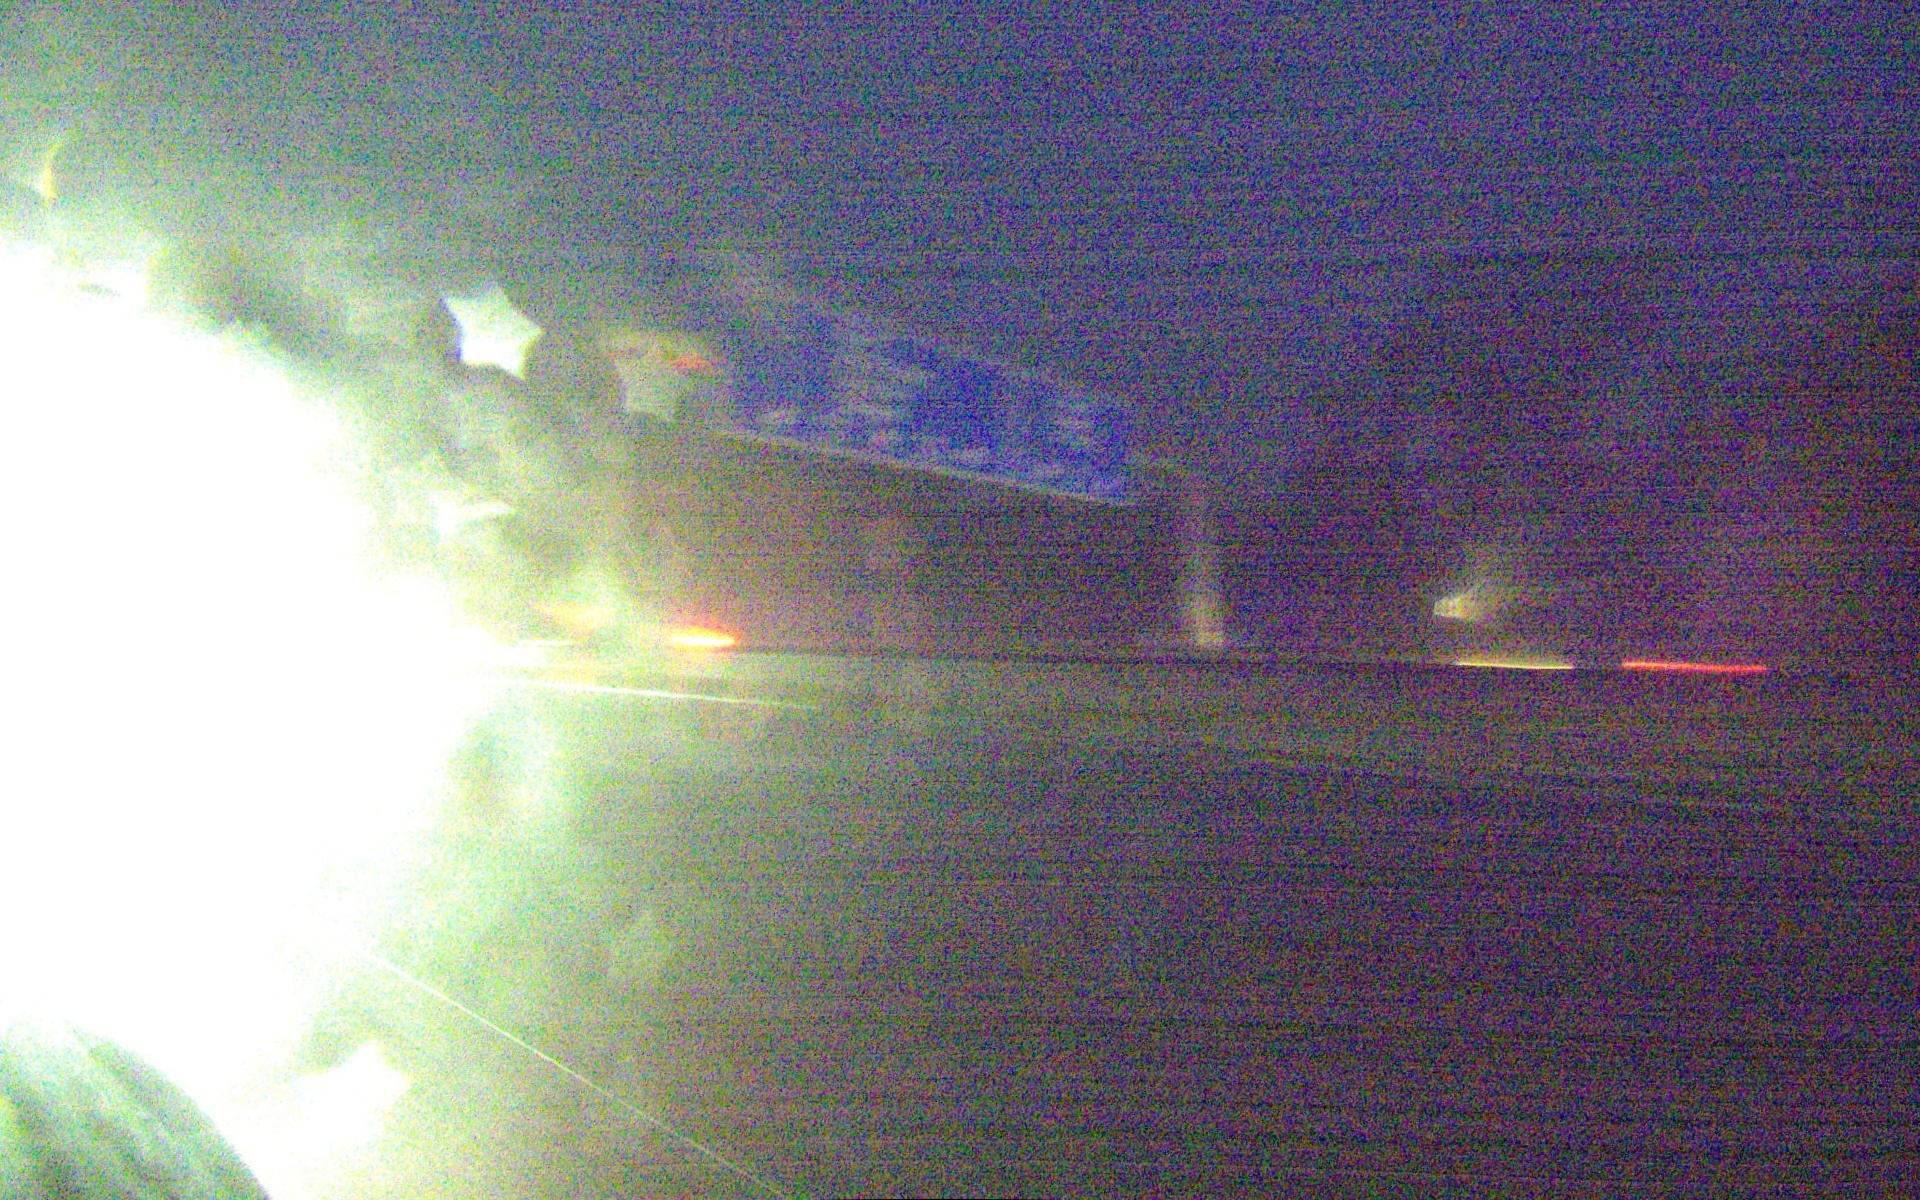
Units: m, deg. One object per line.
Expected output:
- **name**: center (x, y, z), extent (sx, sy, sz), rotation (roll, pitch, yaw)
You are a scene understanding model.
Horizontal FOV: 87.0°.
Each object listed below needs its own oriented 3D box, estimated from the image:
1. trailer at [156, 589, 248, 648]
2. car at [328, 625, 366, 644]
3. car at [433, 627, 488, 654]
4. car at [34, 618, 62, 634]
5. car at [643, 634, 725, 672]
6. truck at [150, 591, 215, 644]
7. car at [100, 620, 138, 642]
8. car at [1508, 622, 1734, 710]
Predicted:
- **trailer**: center (-69.839, 1.623, 93.027), extent (14.794, 5.065, 3.749), rotation (-1, 0, 41)
- **car**: center (-52.101, 2.912, 86.019), extent (3.998, 1.524, 1.639), rotation (-1, 0, 41)
- **car**: center (-30.902, 2.476, 62.534), extent (3.998, 1.524, 1.639), rotation (-1, 0, 41)
- **car**: center (-91.892, 2.618, 101.990), extent (3.998, 1.524, 1.639), rotation (-1, 0, 41)
- **car**: center (-12.936, 2.445, 47.276), extent (3.998, 1.584, 1.781), rotation (-1, 0, 41)
- **truck**: center (-74.848, 1.618, 97.444), extent (6.475, 4.946, 3.750), rotation (-1, 0, 41)
- **car**: center (-64.117, 2.337, 77.162), extent (3.944, 1.524, 1.639), rotation (-1, 0, 41)
- **car**: center (14.623, 1.384, 22.497), extent (3.998, 1.702, 1.743), rotation (-1, 0, 41)
